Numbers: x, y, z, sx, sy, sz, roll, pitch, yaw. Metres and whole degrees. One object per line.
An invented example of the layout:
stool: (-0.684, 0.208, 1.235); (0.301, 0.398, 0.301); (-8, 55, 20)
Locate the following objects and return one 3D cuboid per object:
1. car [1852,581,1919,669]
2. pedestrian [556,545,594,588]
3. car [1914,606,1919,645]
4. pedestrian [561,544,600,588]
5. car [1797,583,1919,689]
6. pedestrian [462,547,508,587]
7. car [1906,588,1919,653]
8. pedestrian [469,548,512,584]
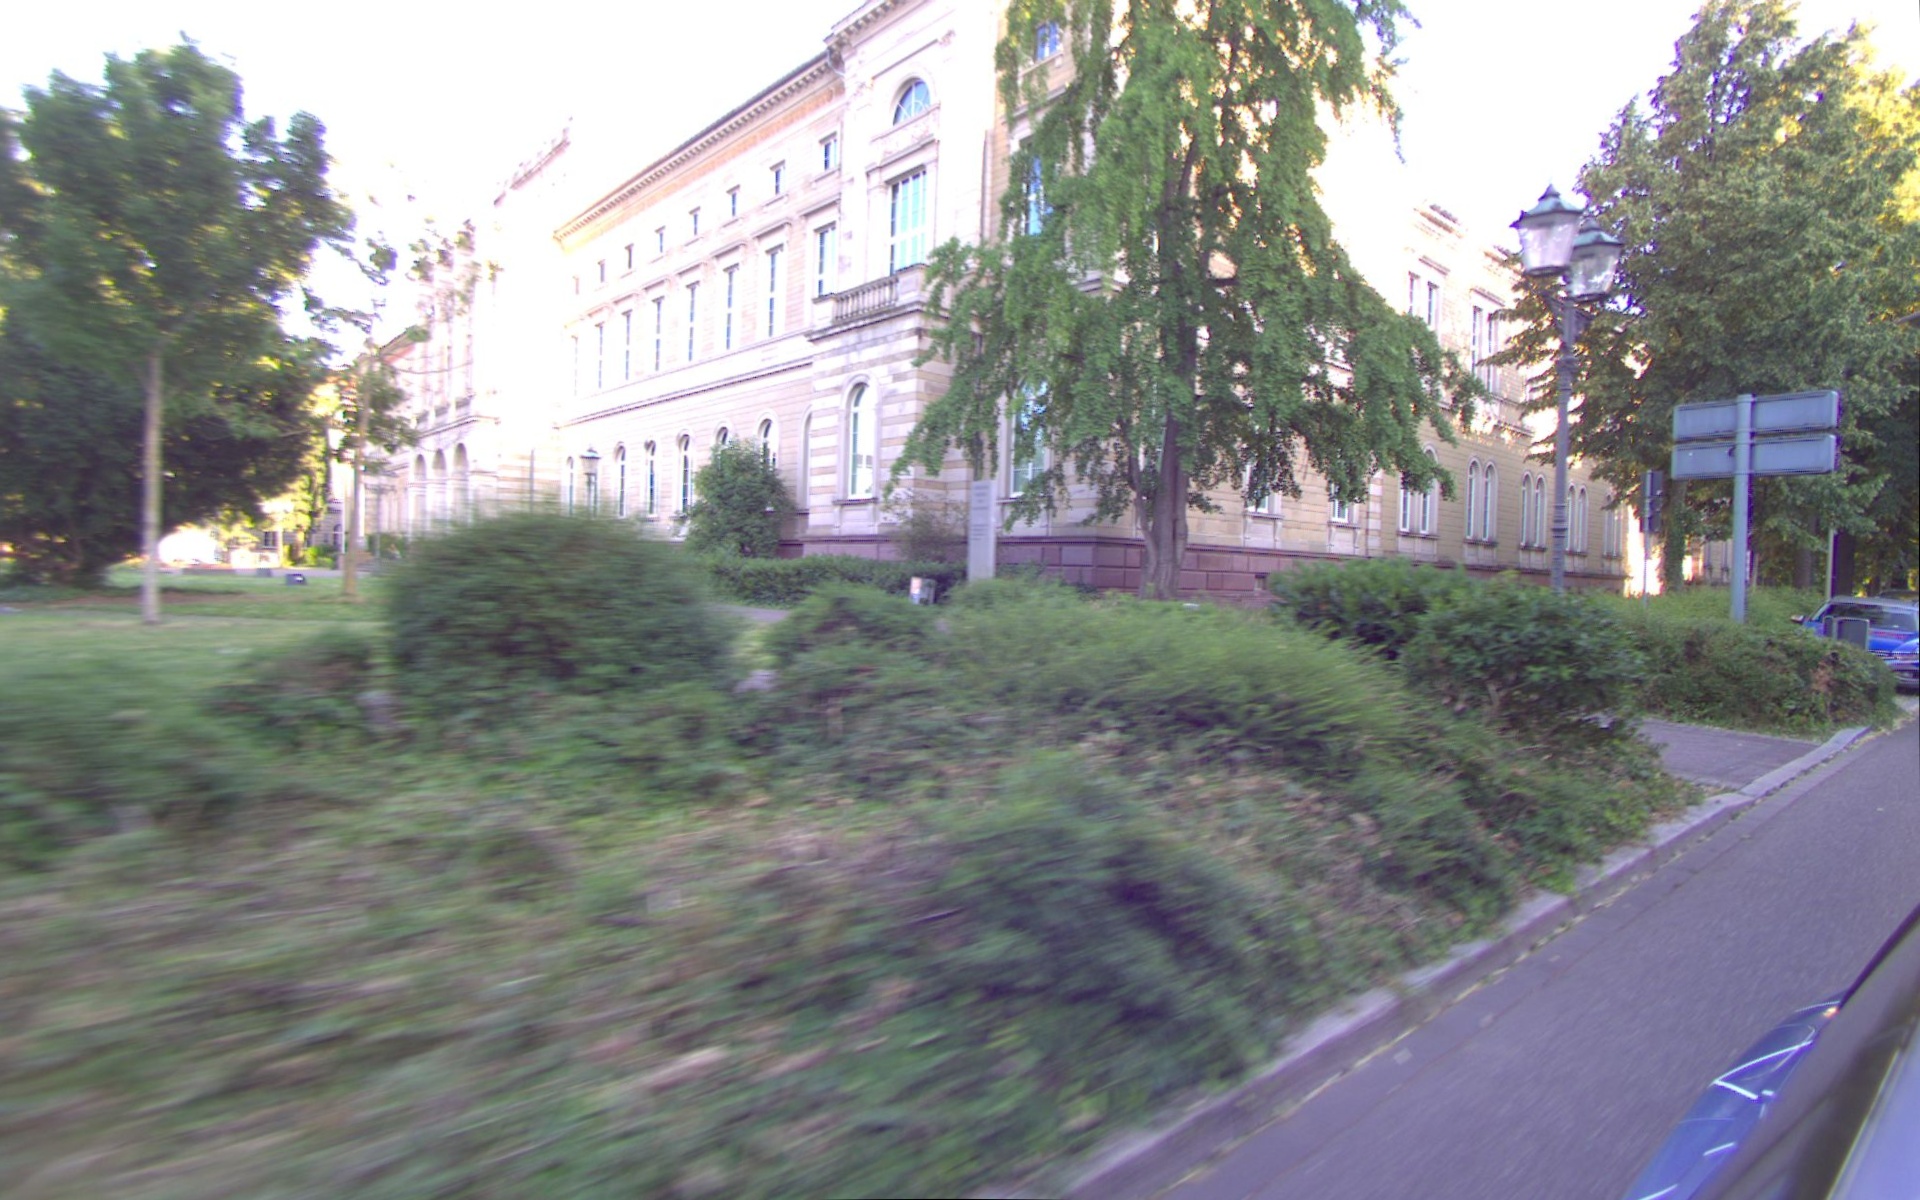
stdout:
car: (20.422, 0.479, 21.205); (4.627, 1.671, 1.729); (-1, 3, -38)
pedestrian: (-12.986, -1.126, 34.150); (1.026, 1.414, 0.695); (0, 2, -41)
car: (28.504, 0.523, 28.520); (4.342, 1.670, 1.812); (1, 6, -42)
pedestrian: (-12.521, -1.113, 33.383); (1.026, 1.414, 0.695); (0, 2, -41)
car: (16.110, 0.551, 17.554); (4.532, 1.505, 1.728); (0, 6, -43)
pedestrian: (-19.658, -1.365, 41.880); (1.540, 1.575, 0.801); (0, 2, -41)
car: (25.016, 0.550, 25.192); (4.116, 1.557, 1.727); (1, 2, -41)
pedestrian: (-19.025, -1.359, 40.985); (1.427, 1.414, 0.695); (0, 2, -41)
